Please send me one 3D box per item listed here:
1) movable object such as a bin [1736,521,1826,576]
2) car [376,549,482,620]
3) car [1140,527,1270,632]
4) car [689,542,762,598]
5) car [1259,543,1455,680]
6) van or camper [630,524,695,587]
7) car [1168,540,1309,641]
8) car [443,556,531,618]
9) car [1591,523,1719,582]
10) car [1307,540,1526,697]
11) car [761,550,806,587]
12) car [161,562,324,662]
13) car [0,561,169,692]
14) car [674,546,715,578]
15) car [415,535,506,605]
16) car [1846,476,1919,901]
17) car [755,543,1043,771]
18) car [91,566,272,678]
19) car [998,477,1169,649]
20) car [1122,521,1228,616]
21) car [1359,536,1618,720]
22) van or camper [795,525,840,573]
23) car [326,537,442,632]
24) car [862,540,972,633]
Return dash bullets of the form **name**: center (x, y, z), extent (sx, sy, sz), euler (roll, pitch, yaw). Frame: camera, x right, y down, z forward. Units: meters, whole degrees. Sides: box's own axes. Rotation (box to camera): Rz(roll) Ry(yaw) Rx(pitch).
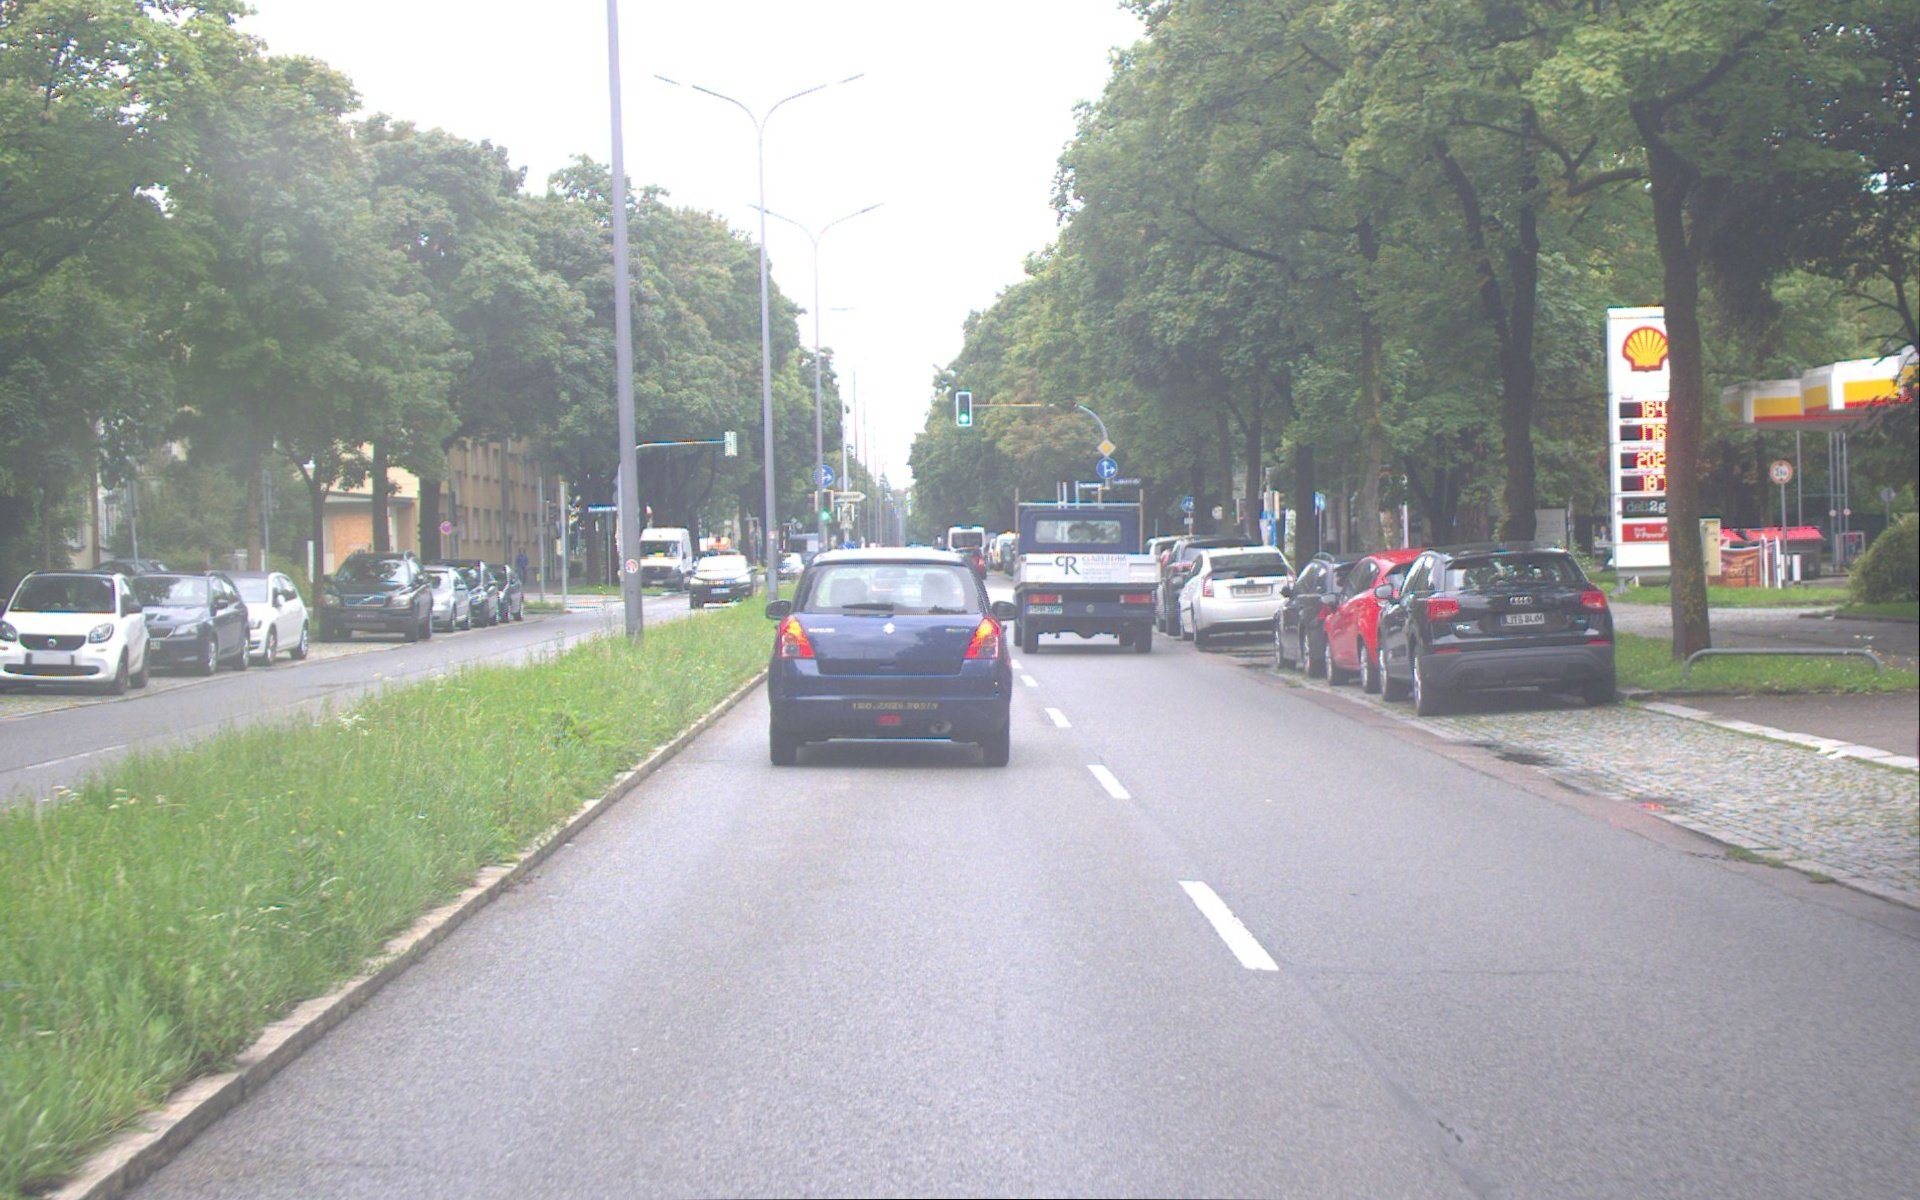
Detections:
- **movable object such as a bin**: center (23.070, -1.460, 96.634), extent (2.060, 1.481, 1.837), euler (-1, 1, 0)
- **car**: center (-11.562, -0.368, 75.077), extent (1.666, 1.440, 4.375), euler (2, 1, -1)
- **car**: center (4.300, -0.398, 60.977), extent (1.760, 1.692, 5.230), euler (-3, 1, -1)
- **car**: center (-6.497, -0.847, 95.545), extent (1.739, 1.435, 4.215), euler (-2, 1, 0)
- **car**: center (4.687, 0.088, 41.171), extent (1.675, 1.448, 4.583), euler (-3, 1, -1)
- **van or camper**: center (-12.338, -1.876, 142.993), extent (2.140, 2.467, 6.259), euler (-2, 1, 0)
- **car**: center (4.443, -0.184, 55.417), extent (1.760, 1.448, 4.633), euler (-3, 1, -1)
- **car**: center (-11.763, -0.348, 85.662), extent (1.564, 1.445, 3.838), euler (2, 1, 1)
- **car**: center (23.092, -1.584, 114.347), extent (3.881, 1.605, 1.932), euler (-5, 1, 6)
- **car**: center (4.819, 0.154, 36.748), extent (1.675, 1.496, 4.022), euler (-3, 1, -1)
- **car**: center (-7.322, -1.315, 142.997), extent (1.737, 1.437, 4.103), euler (-2, 1, -2)
- **car**: center (-11.356, 0.163, 54.652), extent (1.674, 1.438, 4.320), euler (2, 1, 0)
- **car**: center (-11.310, 0.313, 44.129), extent (1.690, 1.560, 3.080), euler (1, 1, -3)
- **car**: center (-12.613, -1.814, 163.279), extent (1.636, 1.437, 3.735), euler (-2, 1, 0)
- **car**: center (-11.611, -0.722, 80.105), extent (1.666, 1.557, 4.300), euler (-1, 1, -3)
- **car**: center (4.995, 0.373, 13.043), extent (1.892, 1.794, 4.862), euler (-2, 1, -1)
- **car**: center (-0.516, 0.354, 24.826), extent (1.896, 1.494, 3.661), euler (1, 1, -4)
- **car**: center (-11.273, 0.286, 50.021), extent (1.674, 1.470, 4.215), euler (2, 1, 0)
- **car**: center (1.786, -0.571, 51.287), extent (2.419, 2.436, 5.086), euler (0, 1, 1)
- **car**: center (4.406, -0.672, 71.084), extent (1.760, 1.824, 4.528), euler (-3, 1, -1)
- **car**: center (4.886, 0.204, 32.286), extent (1.779, 1.506, 4.285), euler (-3, 1, 1)
- **van or camper**: center (-6.980, -2.536, 168.701), extent (2.023, 2.253, 6.022), euler (-2, 1, -2)
- **car**: center (-11.375, -0.342, 68.111), extent (1.796, 1.757, 5.059), euler (2, 1, -5)
- **car**: center (-0.713, -0.256, 59.135), extent (1.799, 1.494, 3.660), euler (-1, 1, 0)
